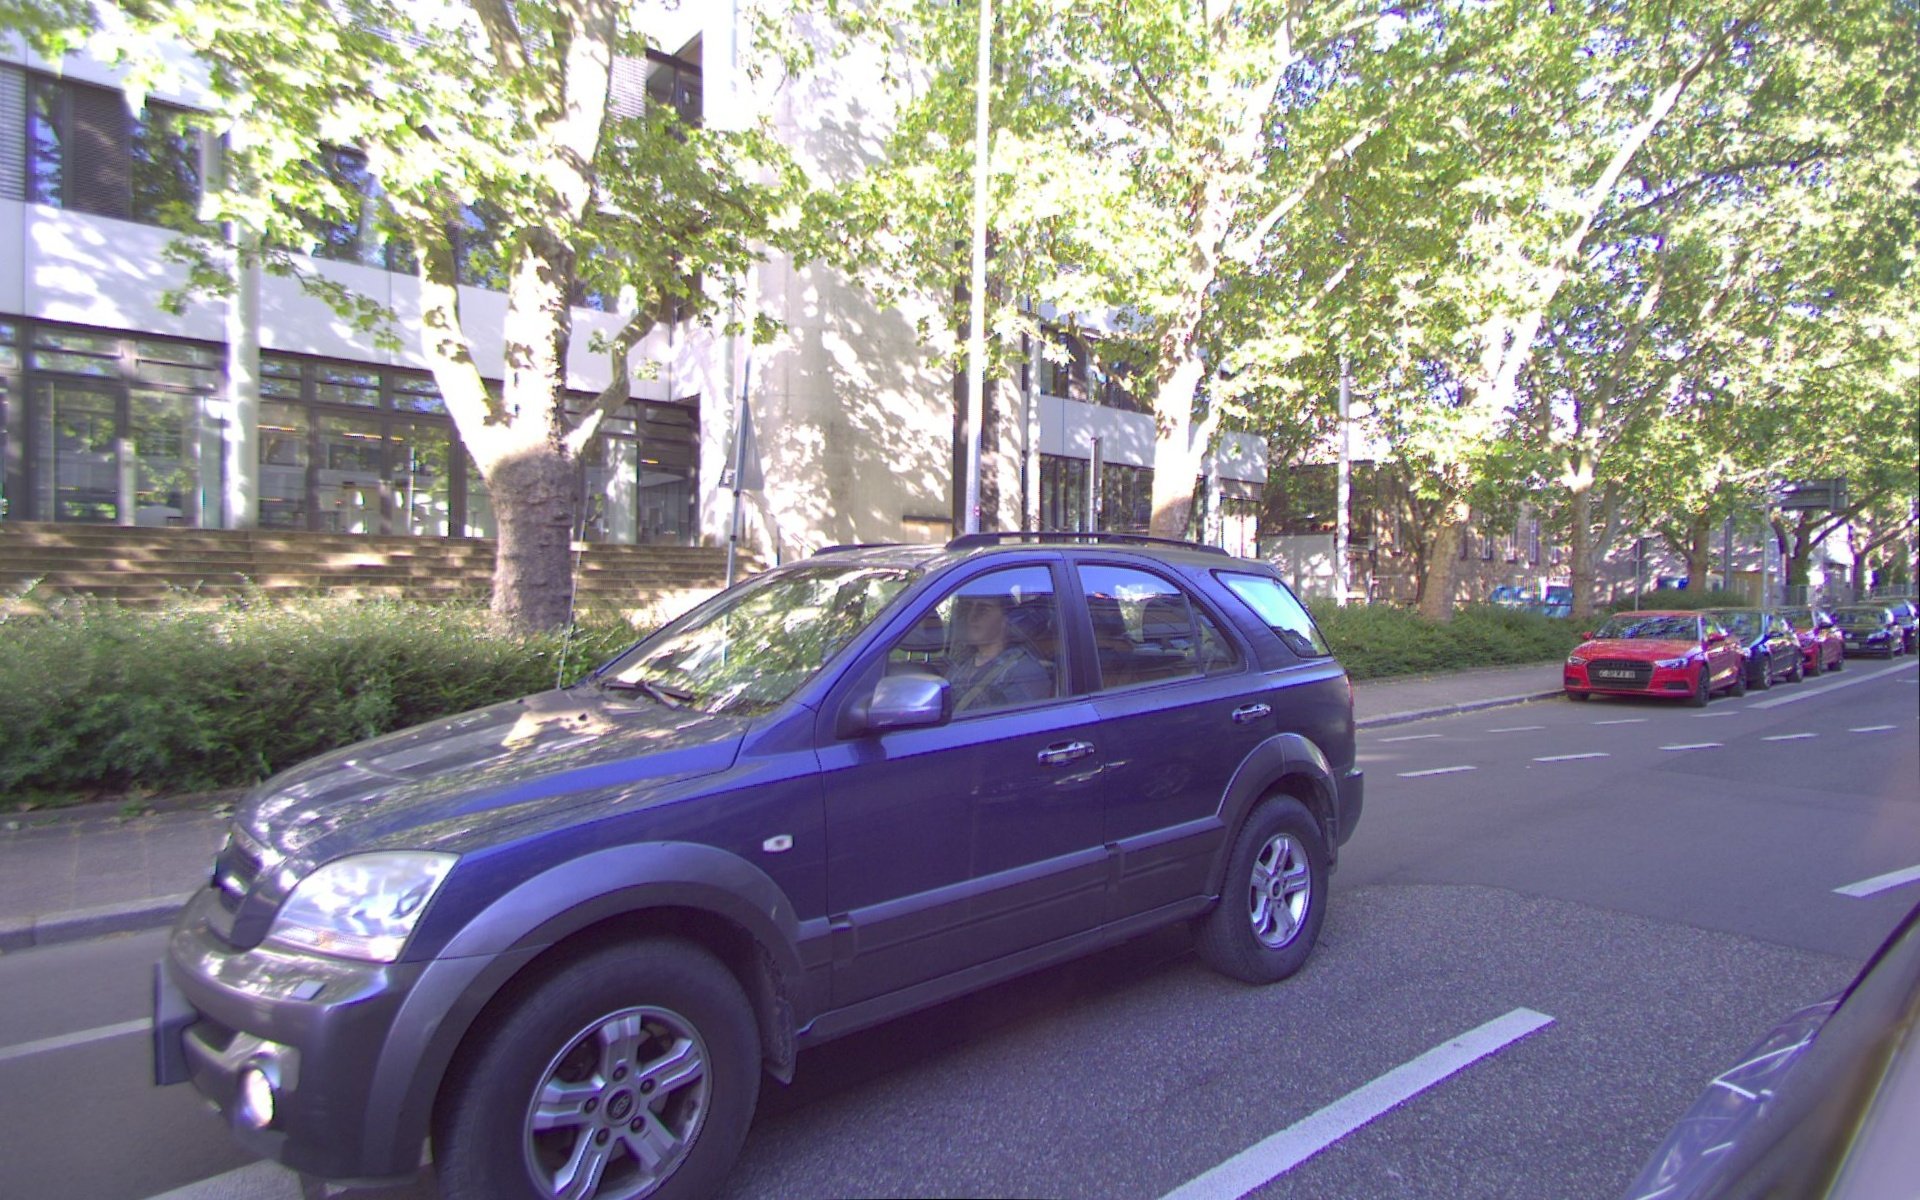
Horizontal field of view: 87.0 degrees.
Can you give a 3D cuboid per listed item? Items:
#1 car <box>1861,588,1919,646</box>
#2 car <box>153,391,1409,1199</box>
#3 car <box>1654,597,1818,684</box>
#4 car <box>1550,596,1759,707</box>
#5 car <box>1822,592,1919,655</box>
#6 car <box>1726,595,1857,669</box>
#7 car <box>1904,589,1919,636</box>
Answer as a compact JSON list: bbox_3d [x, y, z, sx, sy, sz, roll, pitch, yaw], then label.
[{"bbox_3d":[29.714,0.499,31.834,3.840,1.708,1.633,0,1,-42],"label":"car"},{"bbox_3d":[-0.246,0.548,3.780,4.306,1.793,1.784,0,-1,-40],"label":"car"},{"bbox_3d":[14.807,0.707,19.231,4.022,1.472,1.739,0,-1,-42],"label":"car"},{"bbox_3d":[11.196,0.732,16.216,4.071,1.548,1.827,0,-1,-42],"label":"car"},{"bbox_3d":[25.955,0.604,28.738,4.022,1.653,1.739,0,1,-42],"label":"car"},{"bbox_3d":[18.667,0.666,22.657,3.851,1.511,1.679,0,-1,-42],"label":"car"},{"bbox_3d":[38.752,0.487,40.015,3.829,1.818,1.739,0,1,-42],"label":"car"}]
